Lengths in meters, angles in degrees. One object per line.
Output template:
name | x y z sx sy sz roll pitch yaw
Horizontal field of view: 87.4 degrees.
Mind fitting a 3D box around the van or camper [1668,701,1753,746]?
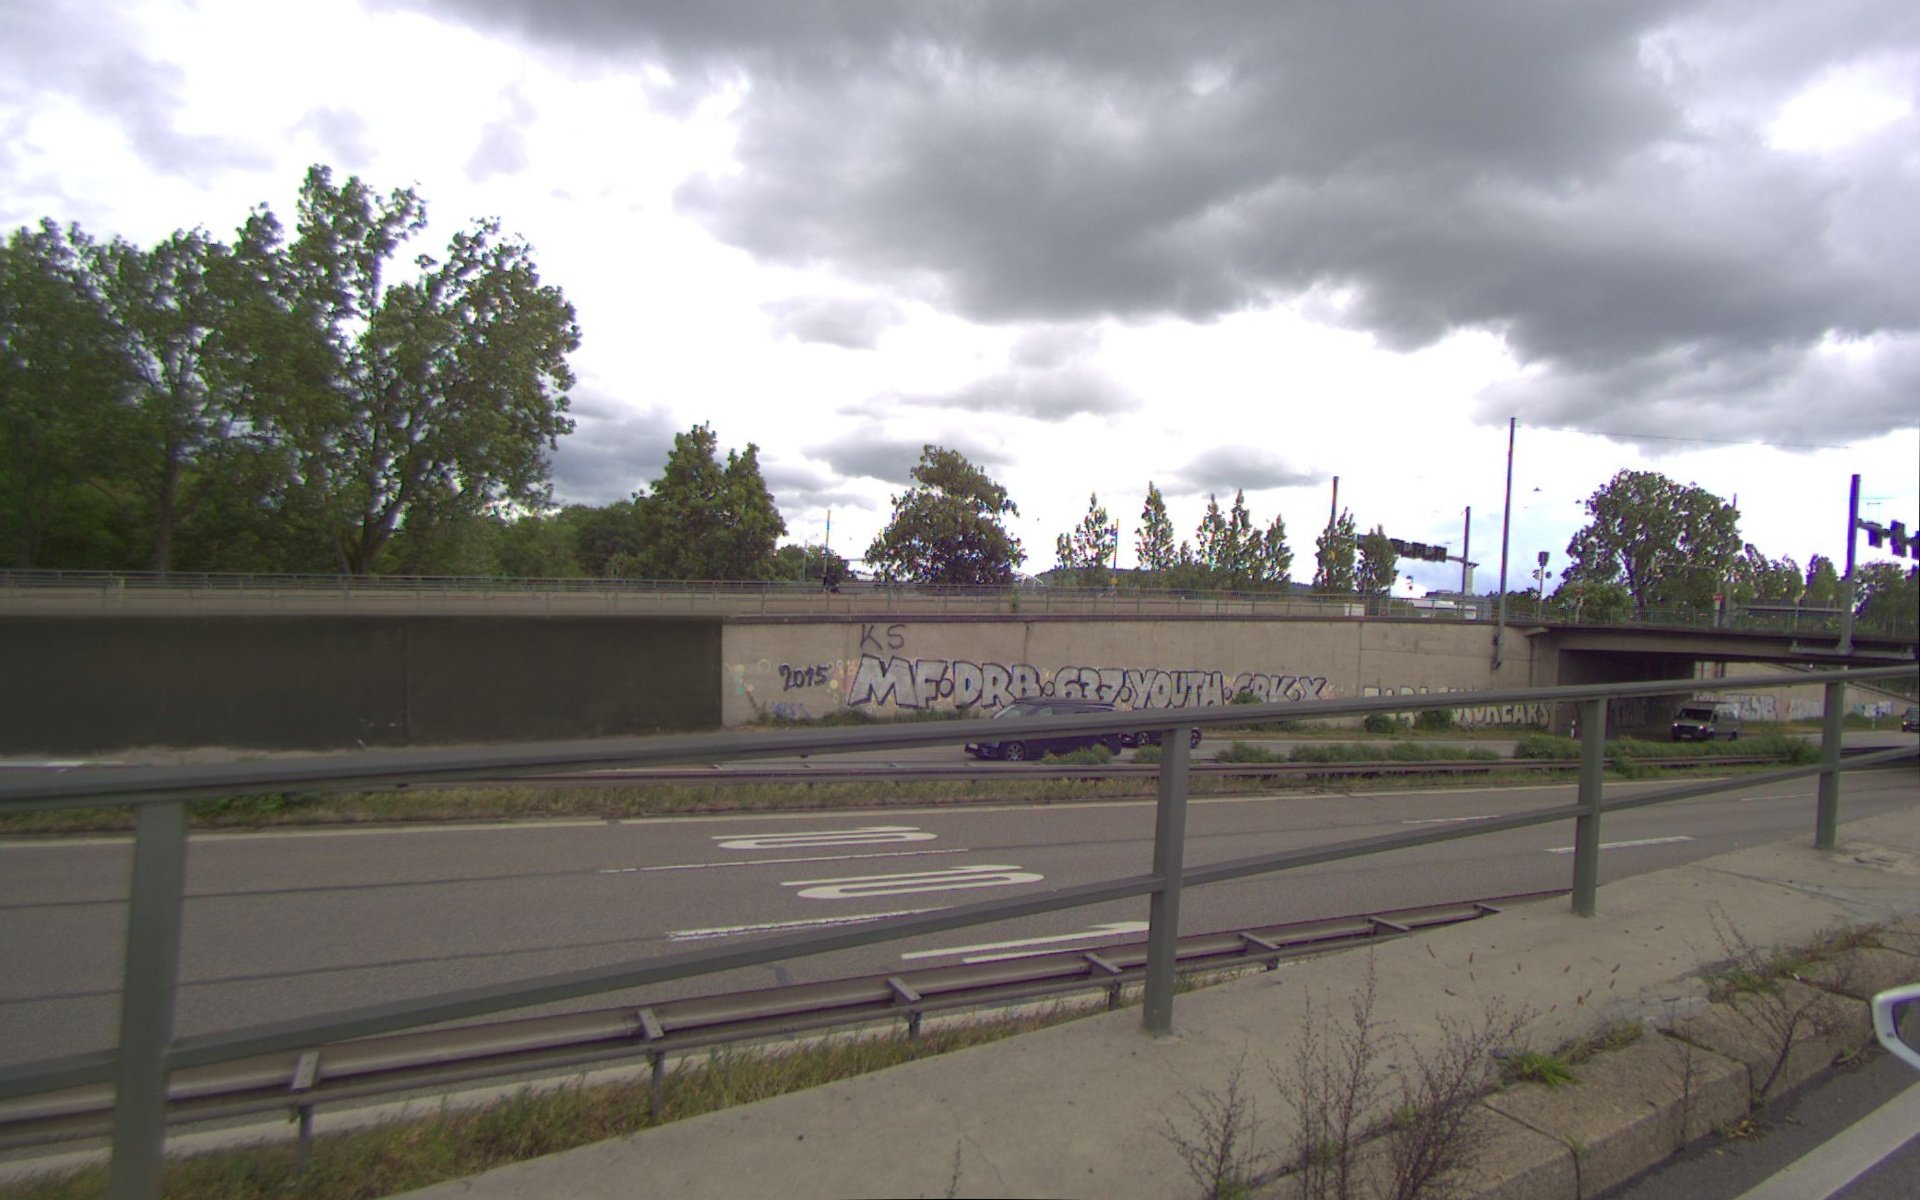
van or camper | 47.687 7.862 63.783 6.280 2.489 2.170 5 -1 -32

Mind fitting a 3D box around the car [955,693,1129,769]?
car | 2.562 4.015 30.957 5.061 2.014 2.081 5 -3 -32

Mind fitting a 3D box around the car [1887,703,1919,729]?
car | 91.069 11.122 96.284 6.130 2.183 2.273 6 -3 -38

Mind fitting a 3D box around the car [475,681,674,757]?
car | -10.292 3.179 26.913 4.651 1.742 1.983 5 -3 -31

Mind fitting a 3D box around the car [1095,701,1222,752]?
car | 7.683 4.877 38.708 4.653 1.714 1.983 5 -3 -32
